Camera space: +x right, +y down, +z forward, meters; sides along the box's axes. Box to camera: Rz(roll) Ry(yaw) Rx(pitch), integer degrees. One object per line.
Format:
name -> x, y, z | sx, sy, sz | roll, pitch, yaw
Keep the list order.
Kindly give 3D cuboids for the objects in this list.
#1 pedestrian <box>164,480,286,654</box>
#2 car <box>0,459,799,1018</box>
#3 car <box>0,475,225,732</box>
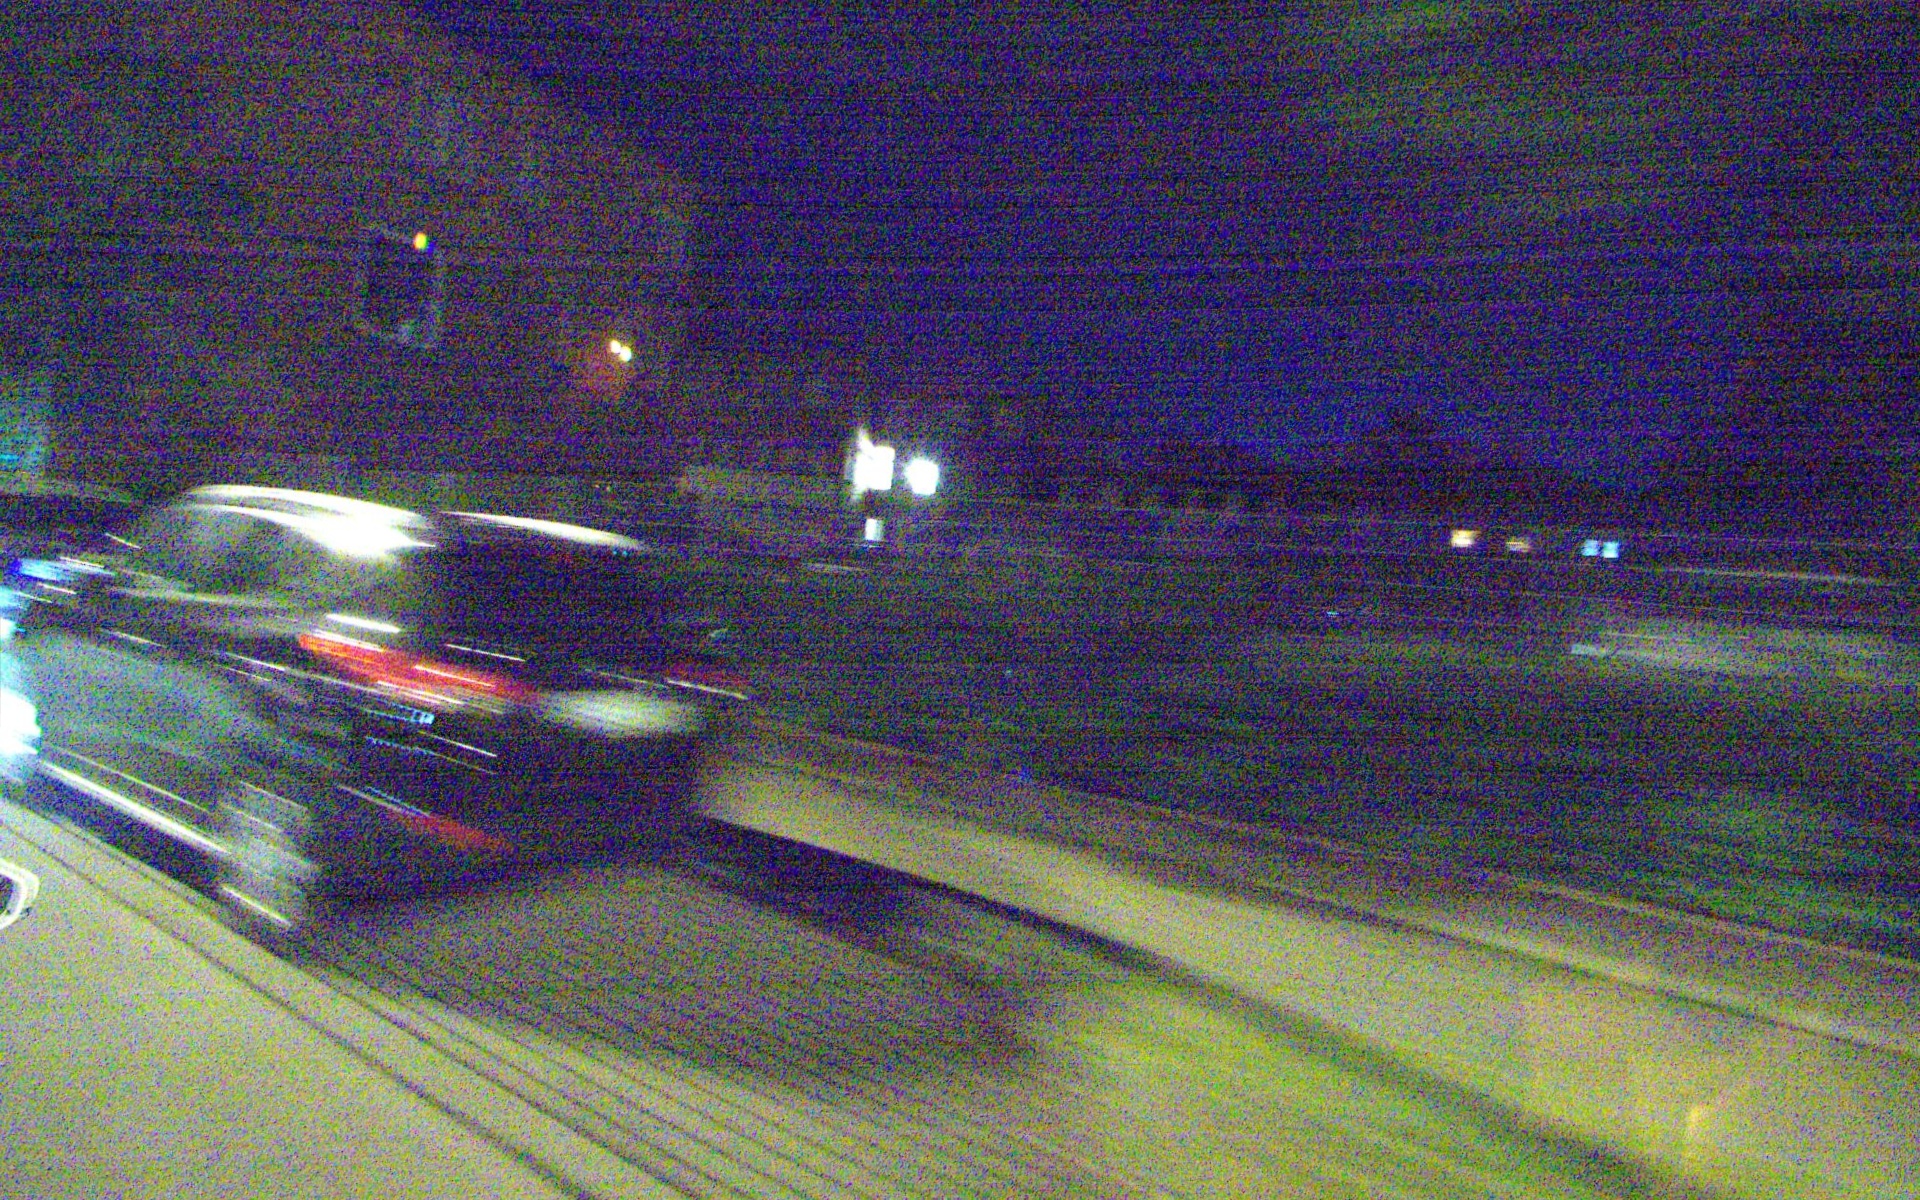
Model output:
pedestrian -> -7.835, -0.338, 10.728 | 0.808, 1.744, 0.705 | 7, 2, 32
car -> -3.067, 0.326, 5.042 | 4.139, 1.675, 1.854 | 7, 2, 31
car -> -7.681, -0.161, 7.731 | 4.139, 1.626, 1.852 | 7, 3, 32
